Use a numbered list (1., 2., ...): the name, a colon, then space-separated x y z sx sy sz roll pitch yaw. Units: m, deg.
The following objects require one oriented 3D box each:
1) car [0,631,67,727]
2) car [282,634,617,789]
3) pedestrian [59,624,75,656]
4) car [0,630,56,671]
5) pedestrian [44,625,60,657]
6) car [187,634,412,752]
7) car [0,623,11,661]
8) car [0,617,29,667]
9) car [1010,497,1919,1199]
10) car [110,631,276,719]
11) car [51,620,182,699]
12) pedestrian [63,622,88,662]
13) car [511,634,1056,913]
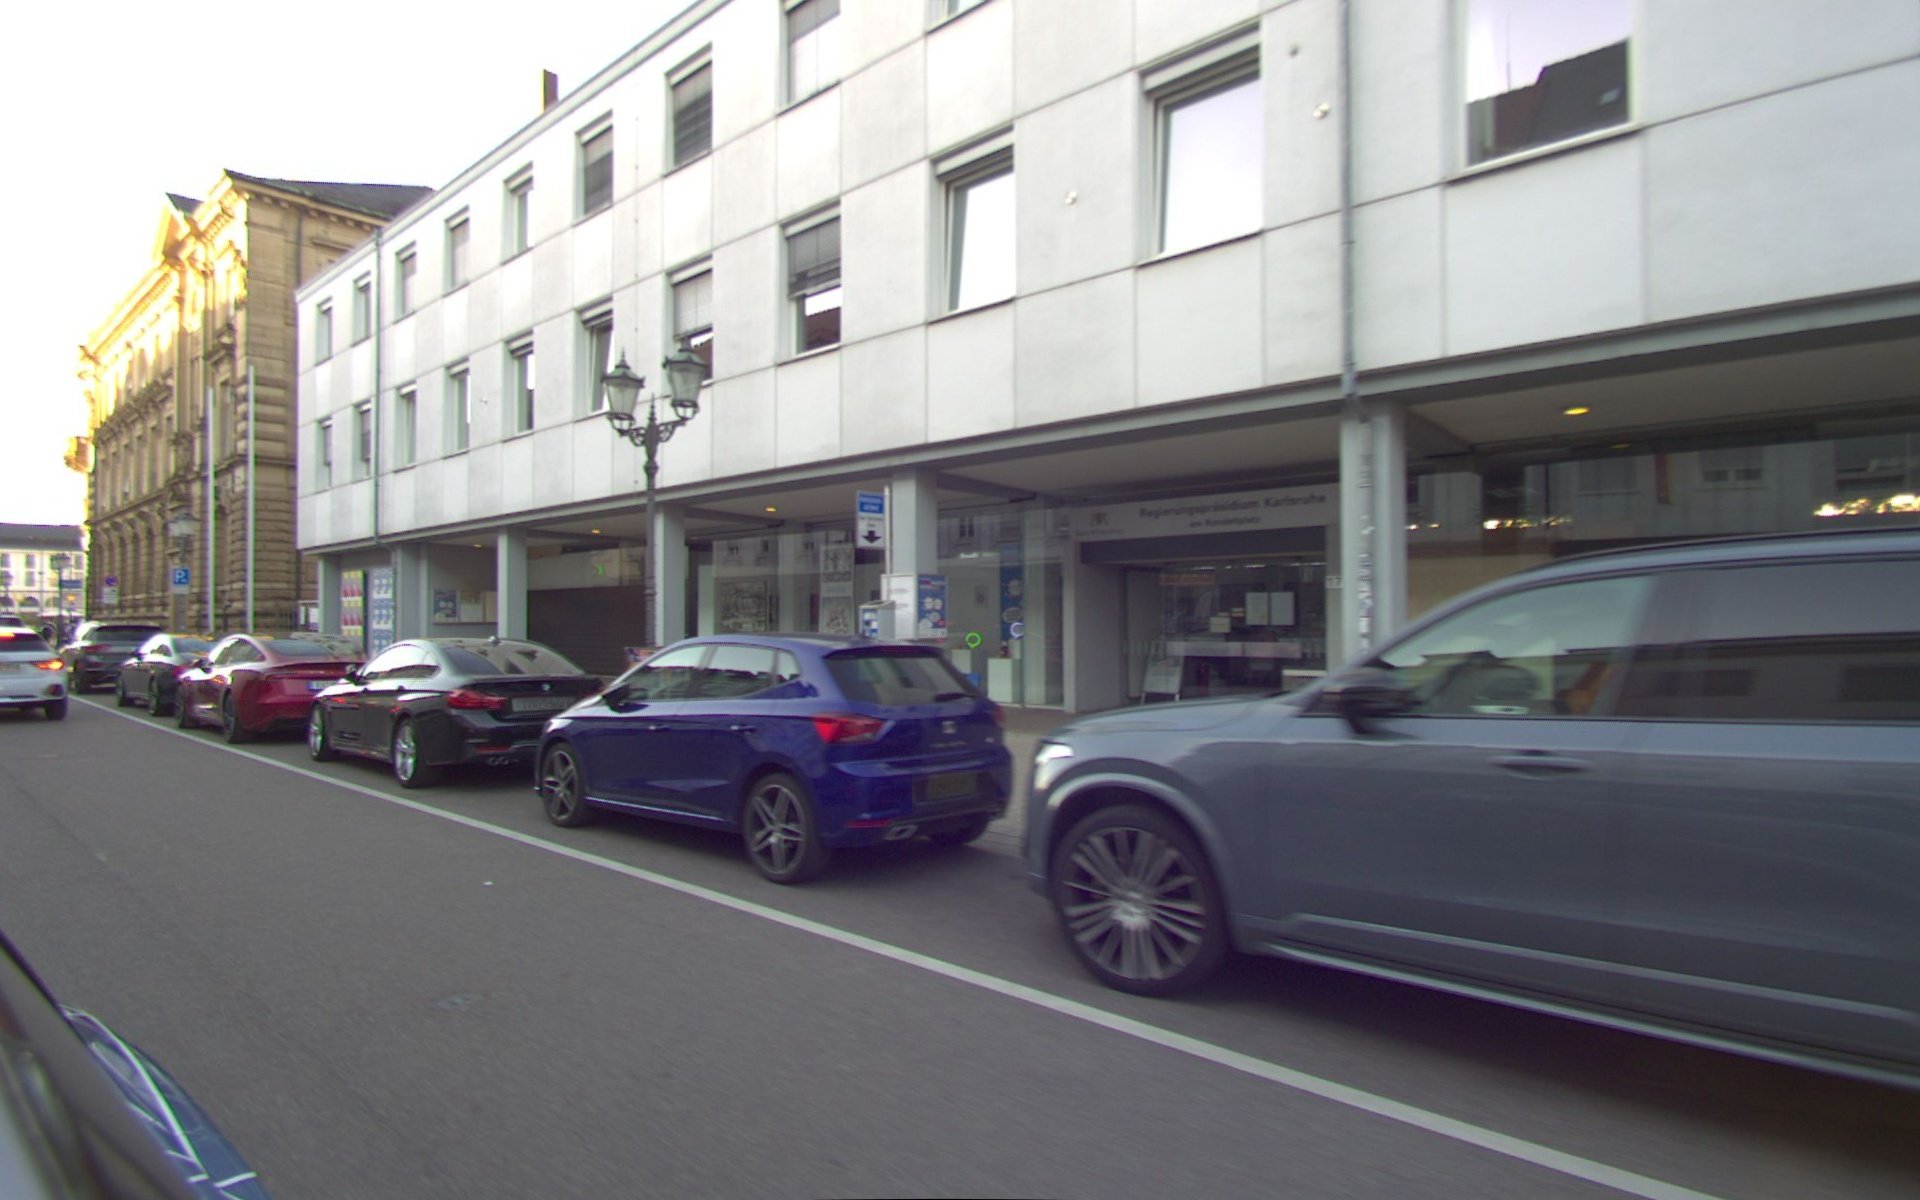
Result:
1. car: -15.969 1.211 16.378 3.998 1.433 1.745 -1 -3 41
2. car: -5.704 1.076 11.120 3.999 1.364 1.972 -2 -3 42
3. pedestrian: -49.039 2.184 55.568 0.703 1.743 0.600 -2 -2 43
4. car: -37.432 1.970 40.119 4.164 1.506 1.972 -1 -2 43
5. pedestrian: -49.491 2.214 55.133 0.831 1.743 0.576 -2 -2 43
6. car: -9.563 1.216 14.532 4.088 1.419 1.765 -2 -2 43
7. car: -47.180 1.994 48.473 4.987 1.765 1.973 -1 -2 41
8. car: -42.497 1.804 44.339 4.988 2.093 1.972 0 -1 42
9. car: 2.539 0.664 3.615 4.515 1.741 1.972 -2 -3 42
10. car: -14.232 1.297 18.710 4.088 1.419 1.765 -2 -2 43
11. car: -19.285 1.295 23.079 4.165 1.627 1.765 -2 -2 43
12. pedestrian: -40.132 1.896 45.914 0.896 1.743 0.706 -2 1 43
13. car: -1.427 0.948 7.130 3.998 1.411 1.655 -2 -2 41
